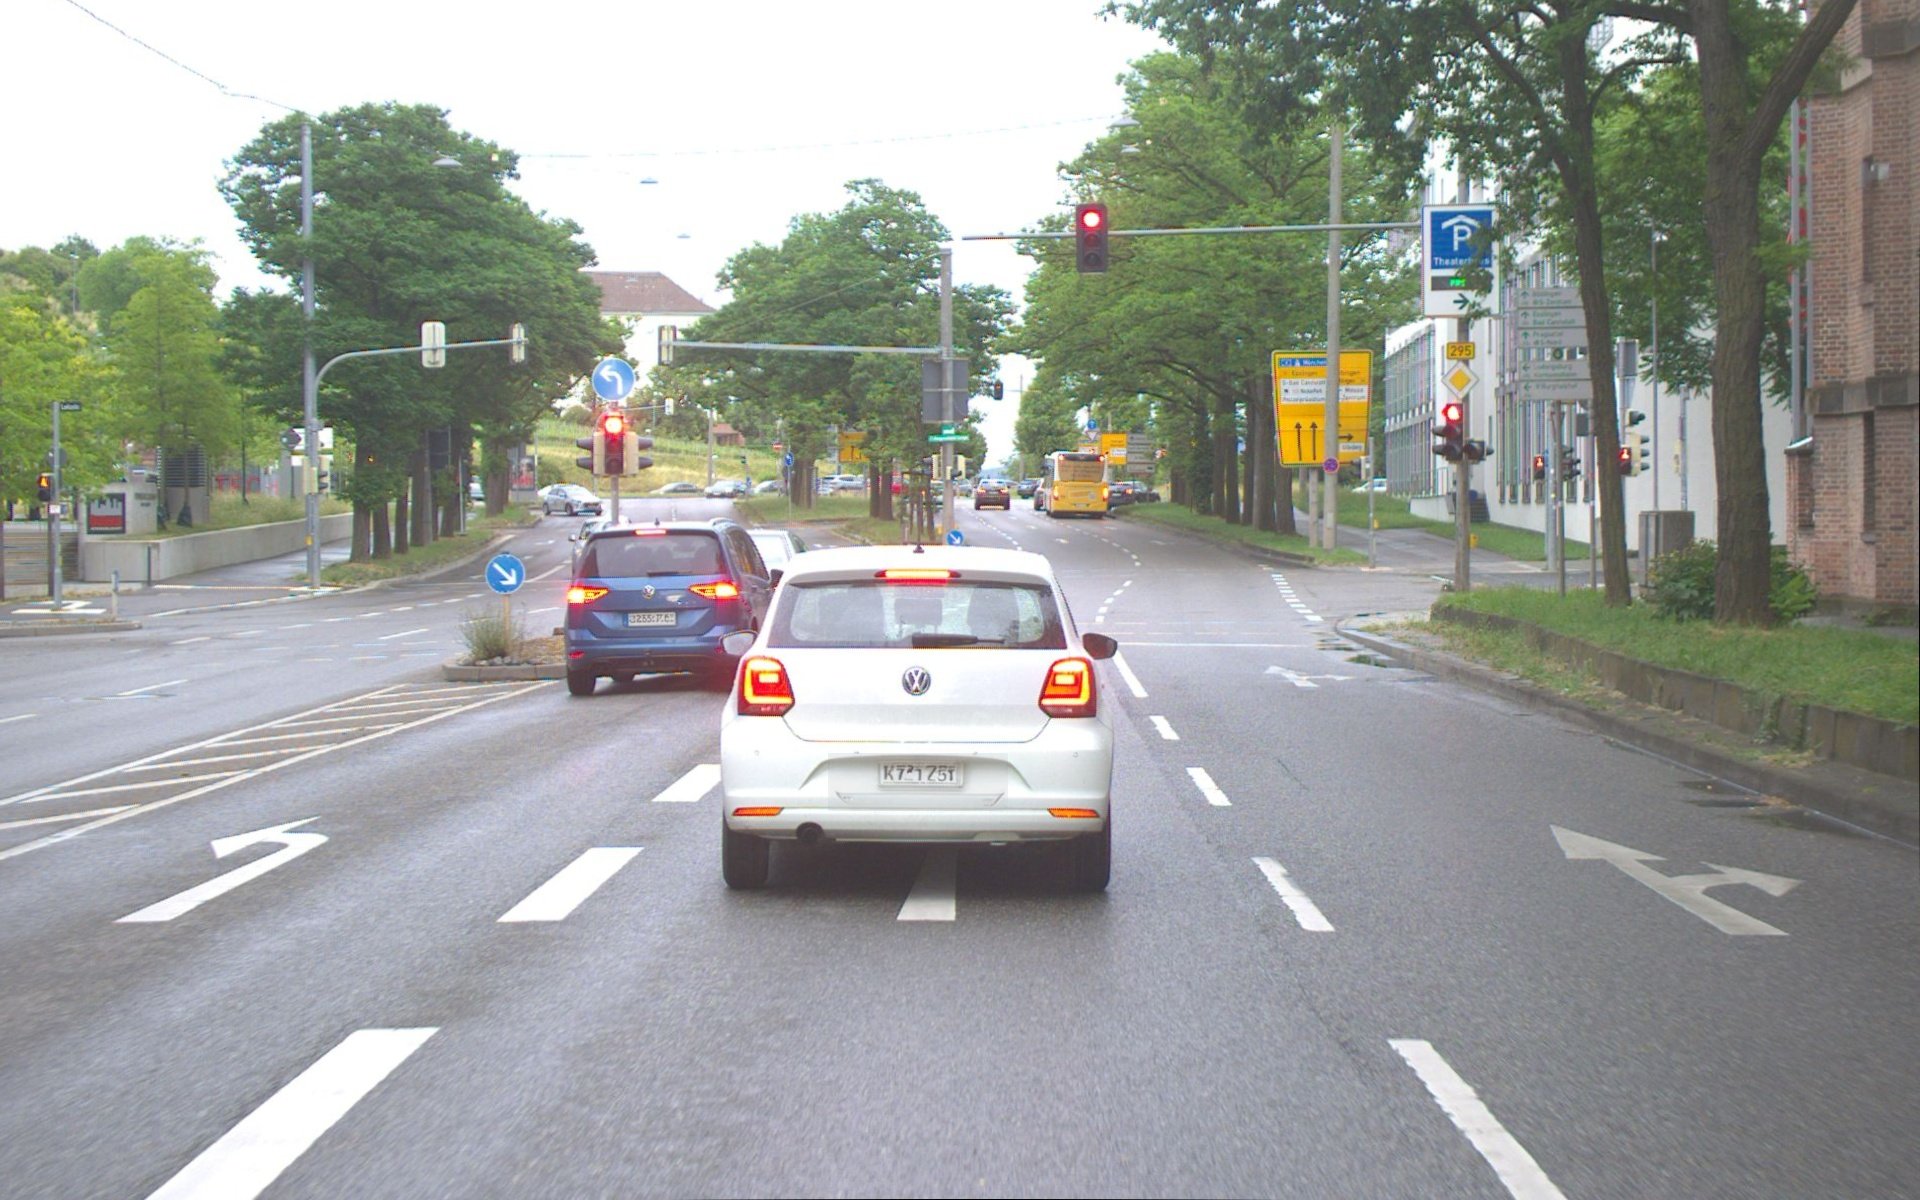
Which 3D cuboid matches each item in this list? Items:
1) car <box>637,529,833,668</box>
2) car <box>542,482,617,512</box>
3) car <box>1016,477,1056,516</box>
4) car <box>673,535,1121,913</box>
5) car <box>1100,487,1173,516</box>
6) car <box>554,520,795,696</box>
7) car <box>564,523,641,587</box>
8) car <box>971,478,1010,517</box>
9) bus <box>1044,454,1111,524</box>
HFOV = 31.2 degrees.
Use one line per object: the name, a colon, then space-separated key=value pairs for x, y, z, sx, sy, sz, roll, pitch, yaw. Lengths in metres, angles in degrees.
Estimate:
car: x=-2.589 y=-0.063 z=40.382 sx=1.847 sy=1.505 sz=4.048 roll=-1 pitch=1 yaw=2
car: x=-19.424 y=-5.247 z=175.439 sx=1.814 sy=1.406 sz=4.655 roll=-3 pitch=3 yaw=-34
car: x=3.999 y=-5.418 z=181.002 sx=1.993 sy=2.007 sz=4.000 roll=-1 pitch=1 yaw=0
car: x=-0.223 y=0.459 z=15.814 sx=1.794 sy=1.497 sz=4.000 roll=0 pitch=1 yaw=1
car: x=9.264 y=-5.163 z=180.585 sx=3.817 sy=1.510 sz=1.699 roll=-2 pitch=2 yaw=-45
car: x=-2.728 y=0.022 z=33.732 sx=1.772 sy=1.591 sz=4.197 roll=-1 pitch=1 yaw=3
car: x=-9.198 y=-1.179 z=88.748 sx=1.750 sy=1.515 sz=3.818 roll=-2 pitch=2 yaw=-3
car: x=1.586 y=-5.390 z=181.080 sx=1.993 sy=2.007 sz=4.000 roll=-1 pitch=1 yaw=0
bus: x=5.548 y=-5.328 z=163.755 sx=2.828 sy=3.255 sz=10.002 roll=0 pitch=2 yaw=0
